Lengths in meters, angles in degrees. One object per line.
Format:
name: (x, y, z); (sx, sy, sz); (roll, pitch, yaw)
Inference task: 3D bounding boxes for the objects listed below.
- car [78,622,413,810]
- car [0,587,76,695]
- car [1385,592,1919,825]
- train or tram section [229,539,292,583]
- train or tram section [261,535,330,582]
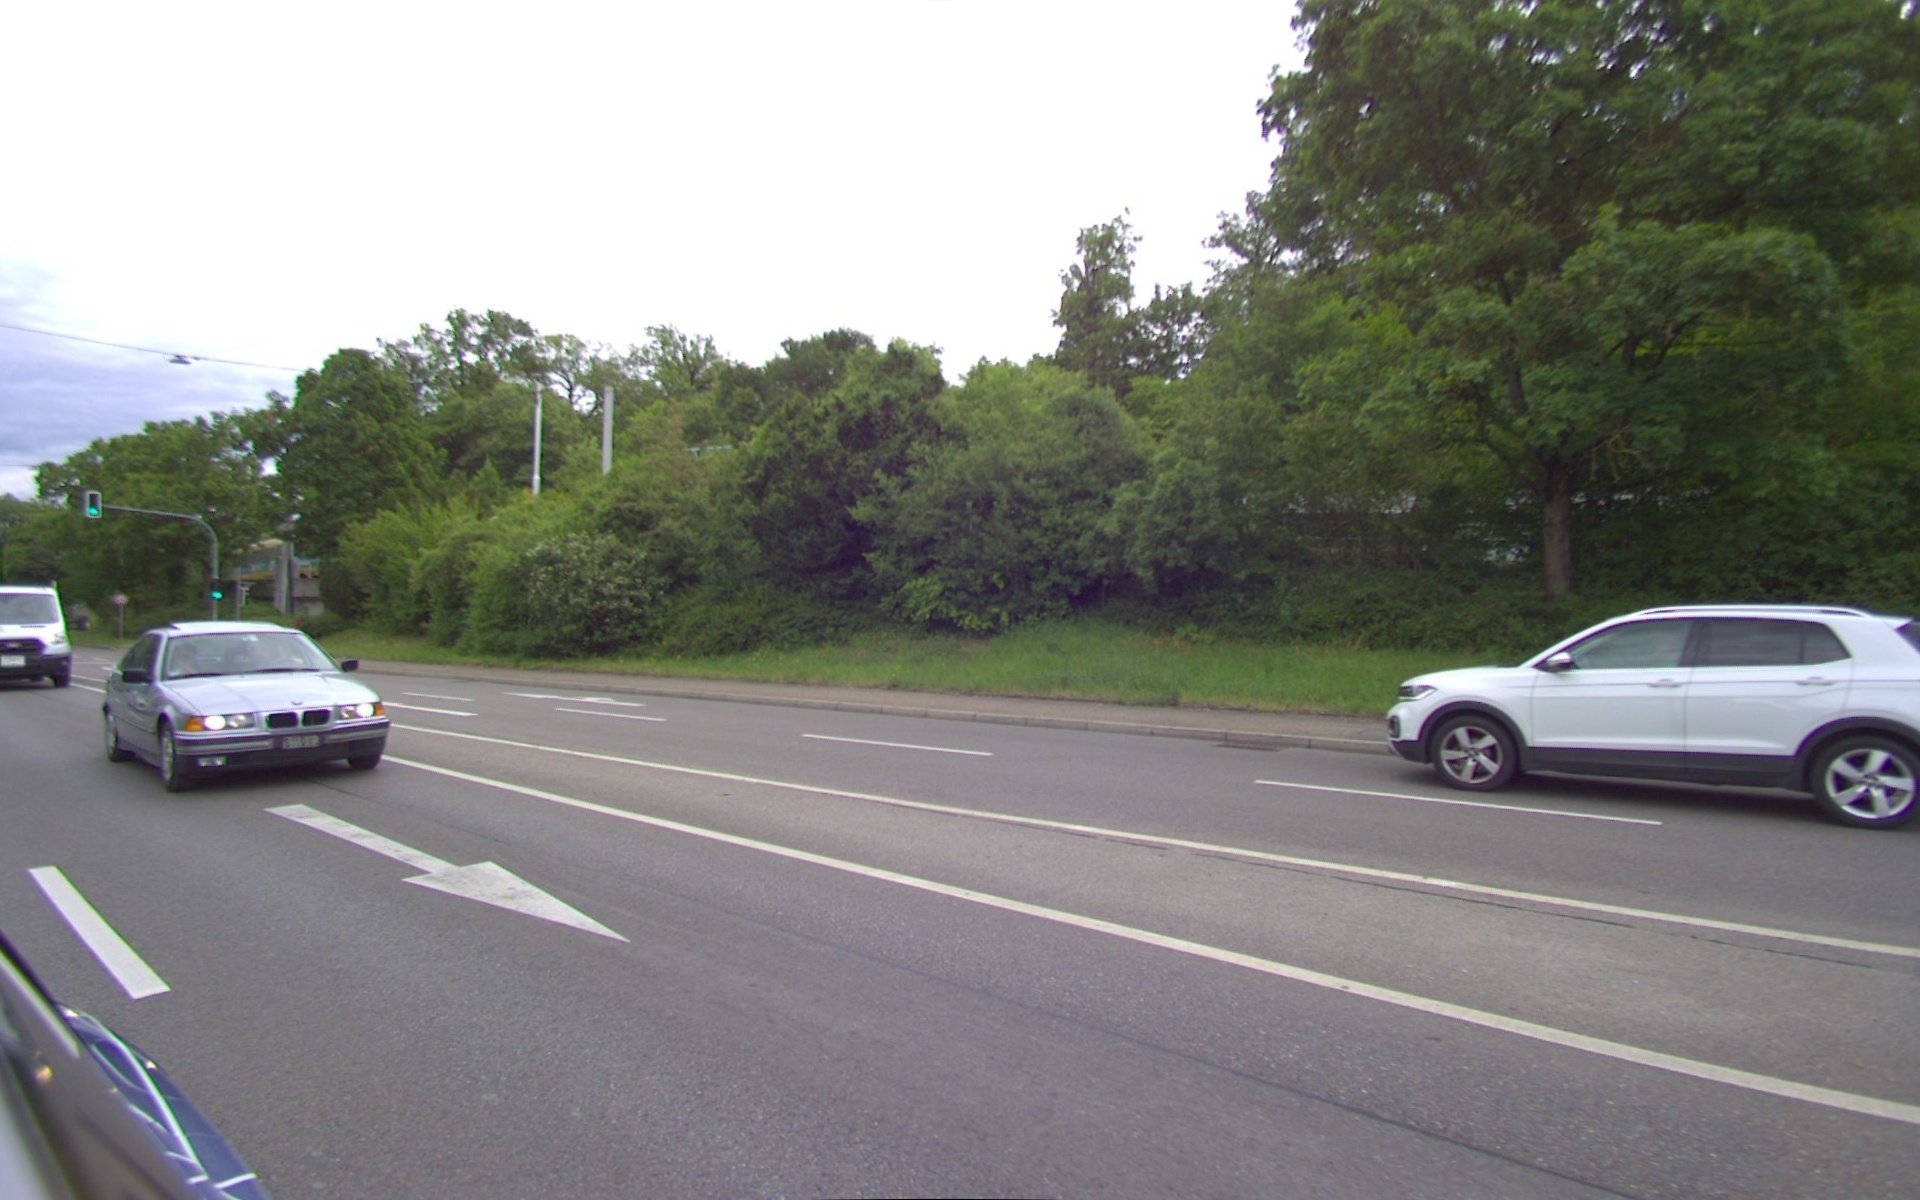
car: (-7.077, 0.919, 9.807); (4.615, 1.404, 1.734); (-1, -2, 43)
car: (-21.676, 0.871, 22.344); (6.663, 2.142, 2.225); (-1, -1, 40)
car: (5.841, 0.747, 8.296); (4.038, 1.552, 1.712); (-1, 0, 38)
train or tram section: (-52.544, -2.874, 75.901); (8.150, 3.066, 2.035); (0, 1, 42)
train or tram section: (-46.390, -2.815, 70.510); (8.151, 3.066, 2.035); (0, 1, 42)
